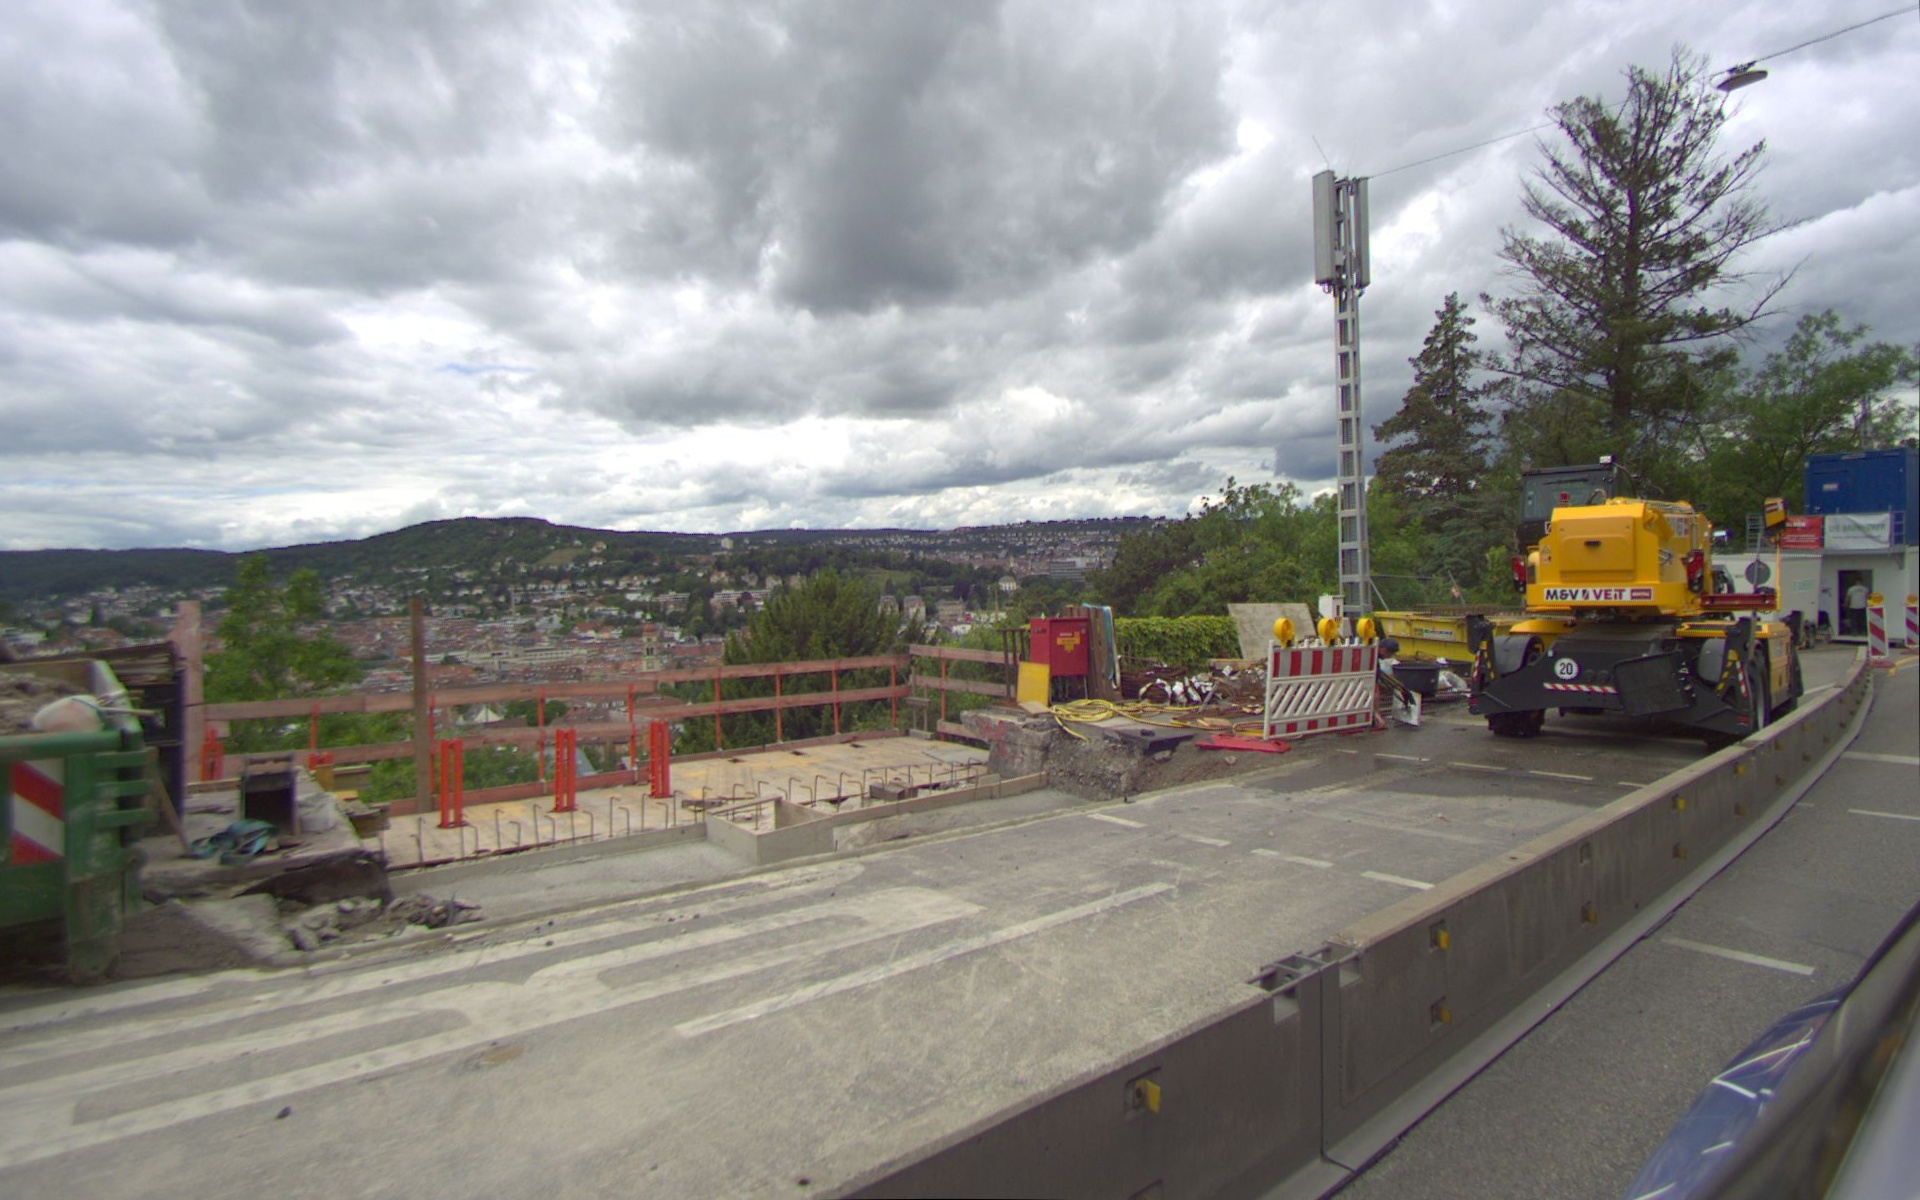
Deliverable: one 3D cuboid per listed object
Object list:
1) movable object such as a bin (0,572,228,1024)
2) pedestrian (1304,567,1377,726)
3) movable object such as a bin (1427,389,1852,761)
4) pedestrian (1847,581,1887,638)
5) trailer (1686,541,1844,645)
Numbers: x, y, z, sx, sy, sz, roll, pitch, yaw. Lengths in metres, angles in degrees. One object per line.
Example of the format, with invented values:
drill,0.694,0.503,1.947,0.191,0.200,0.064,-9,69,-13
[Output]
movable object such as a bin,-6.236,0.724,2.498,6.979,1.581,2.377,-1,0,-43
pedestrian,4.502,0.525,11.963,0.687,1.817,0.532,0,0,37
movable object such as a bin,8.545,-0.227,12.196,2.812,3.110,7.696,-1,0,45
pedestrian,27.125,0.294,30.274,0.641,1.682,0.647,-1,-1,16
trailer,21.923,-0.244,27.509,5.024,2.581,2.113,0,3,-37
